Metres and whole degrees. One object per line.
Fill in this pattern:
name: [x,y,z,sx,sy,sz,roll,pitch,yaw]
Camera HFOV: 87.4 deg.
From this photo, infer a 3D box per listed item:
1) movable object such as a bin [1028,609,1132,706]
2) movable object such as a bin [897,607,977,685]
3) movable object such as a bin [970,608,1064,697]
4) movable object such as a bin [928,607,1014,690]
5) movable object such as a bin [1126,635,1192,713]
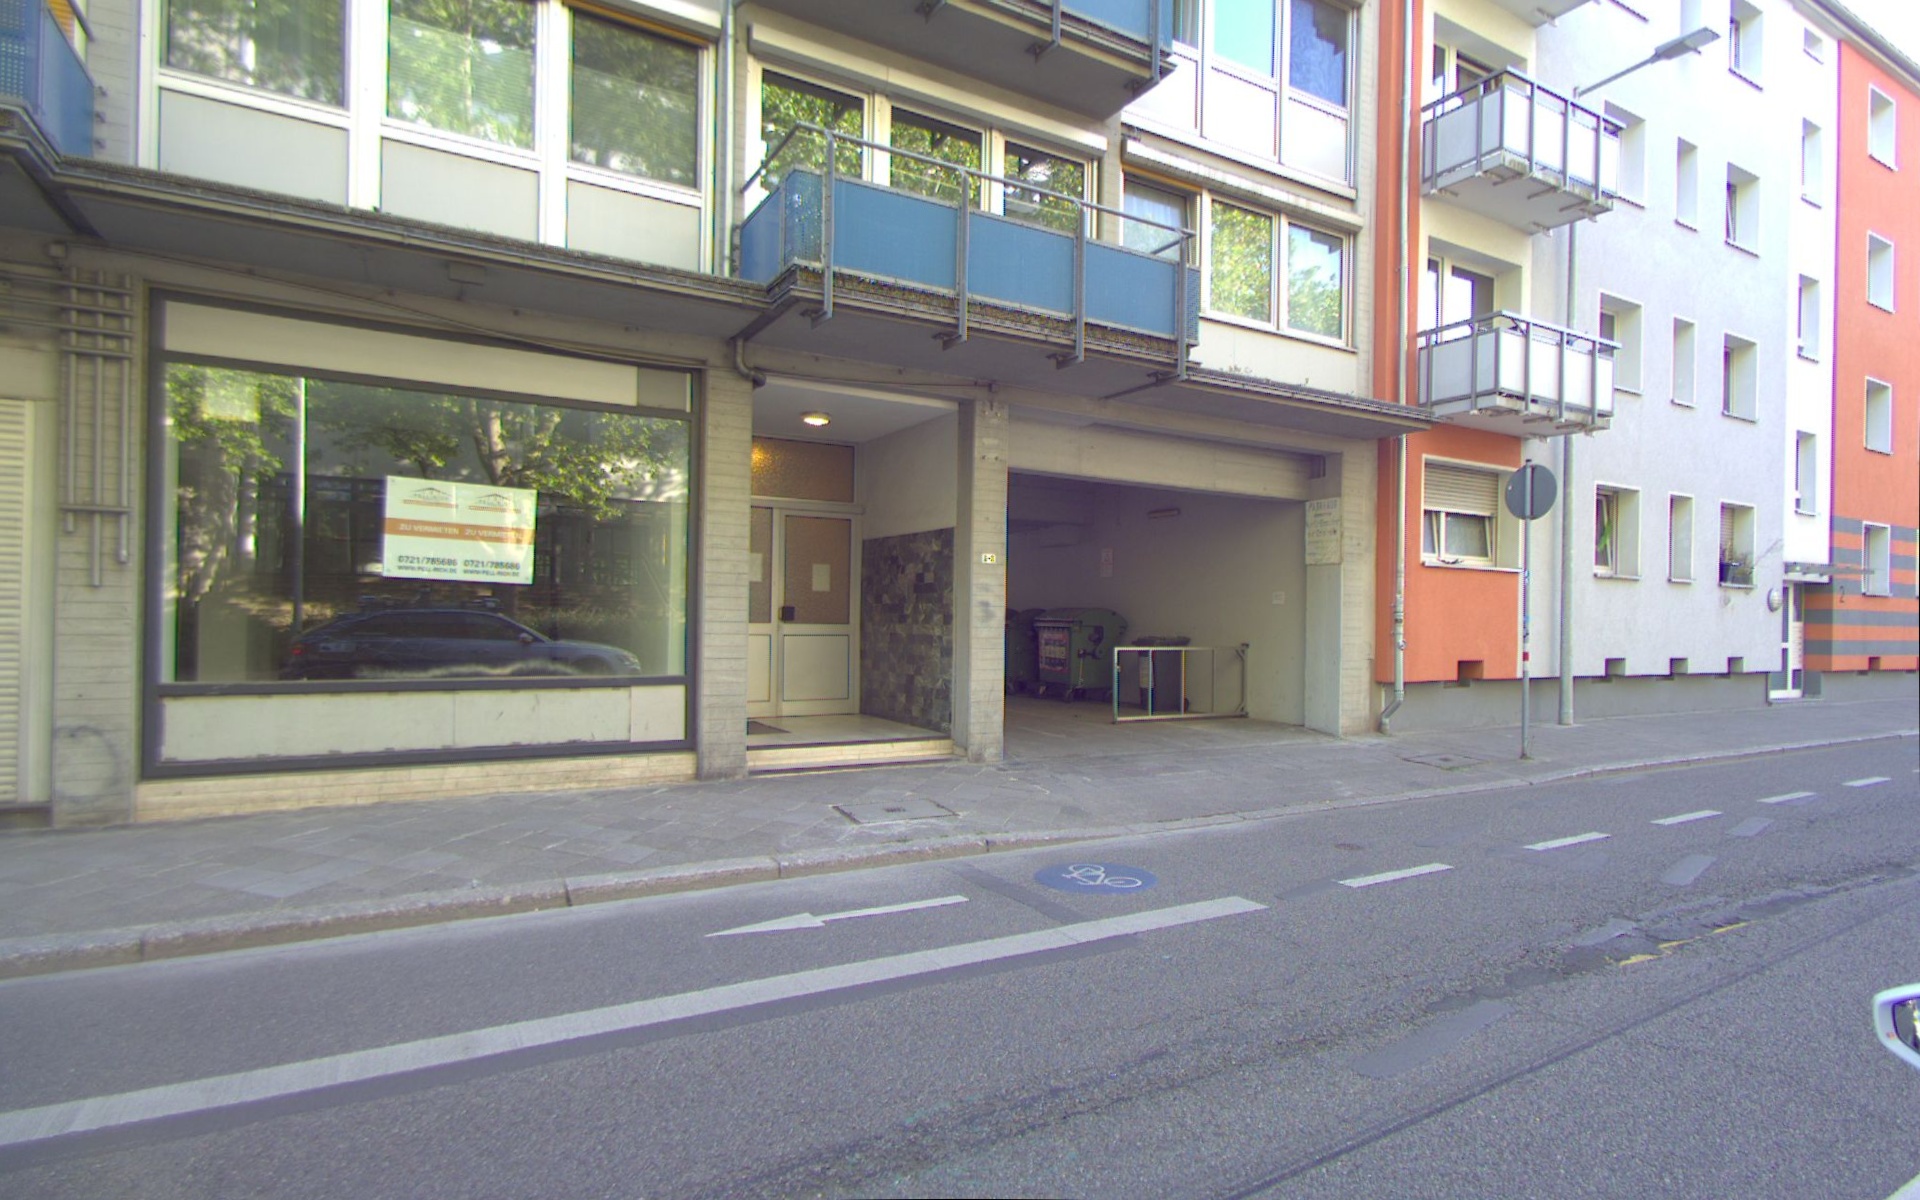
movable object such as a bin: [1.874,0.870,15.803,1.116,1.444,1.201,1,0,-30]
movable object such as a bin: [-0.456,0.878,19.609,1.116,1.444,1.201,1,0,-30]
movable object such as a bin: [0.962,0.865,17.162,1.116,1.444,1.201,1,0,-30]
movable object such as a bin: [0.192,0.872,18.461,1.116,1.444,1.201,1,0,-30]
movable object such as a bin: [2.871,1.053,14.493,0.667,1.079,0.639,1,0,-30]
